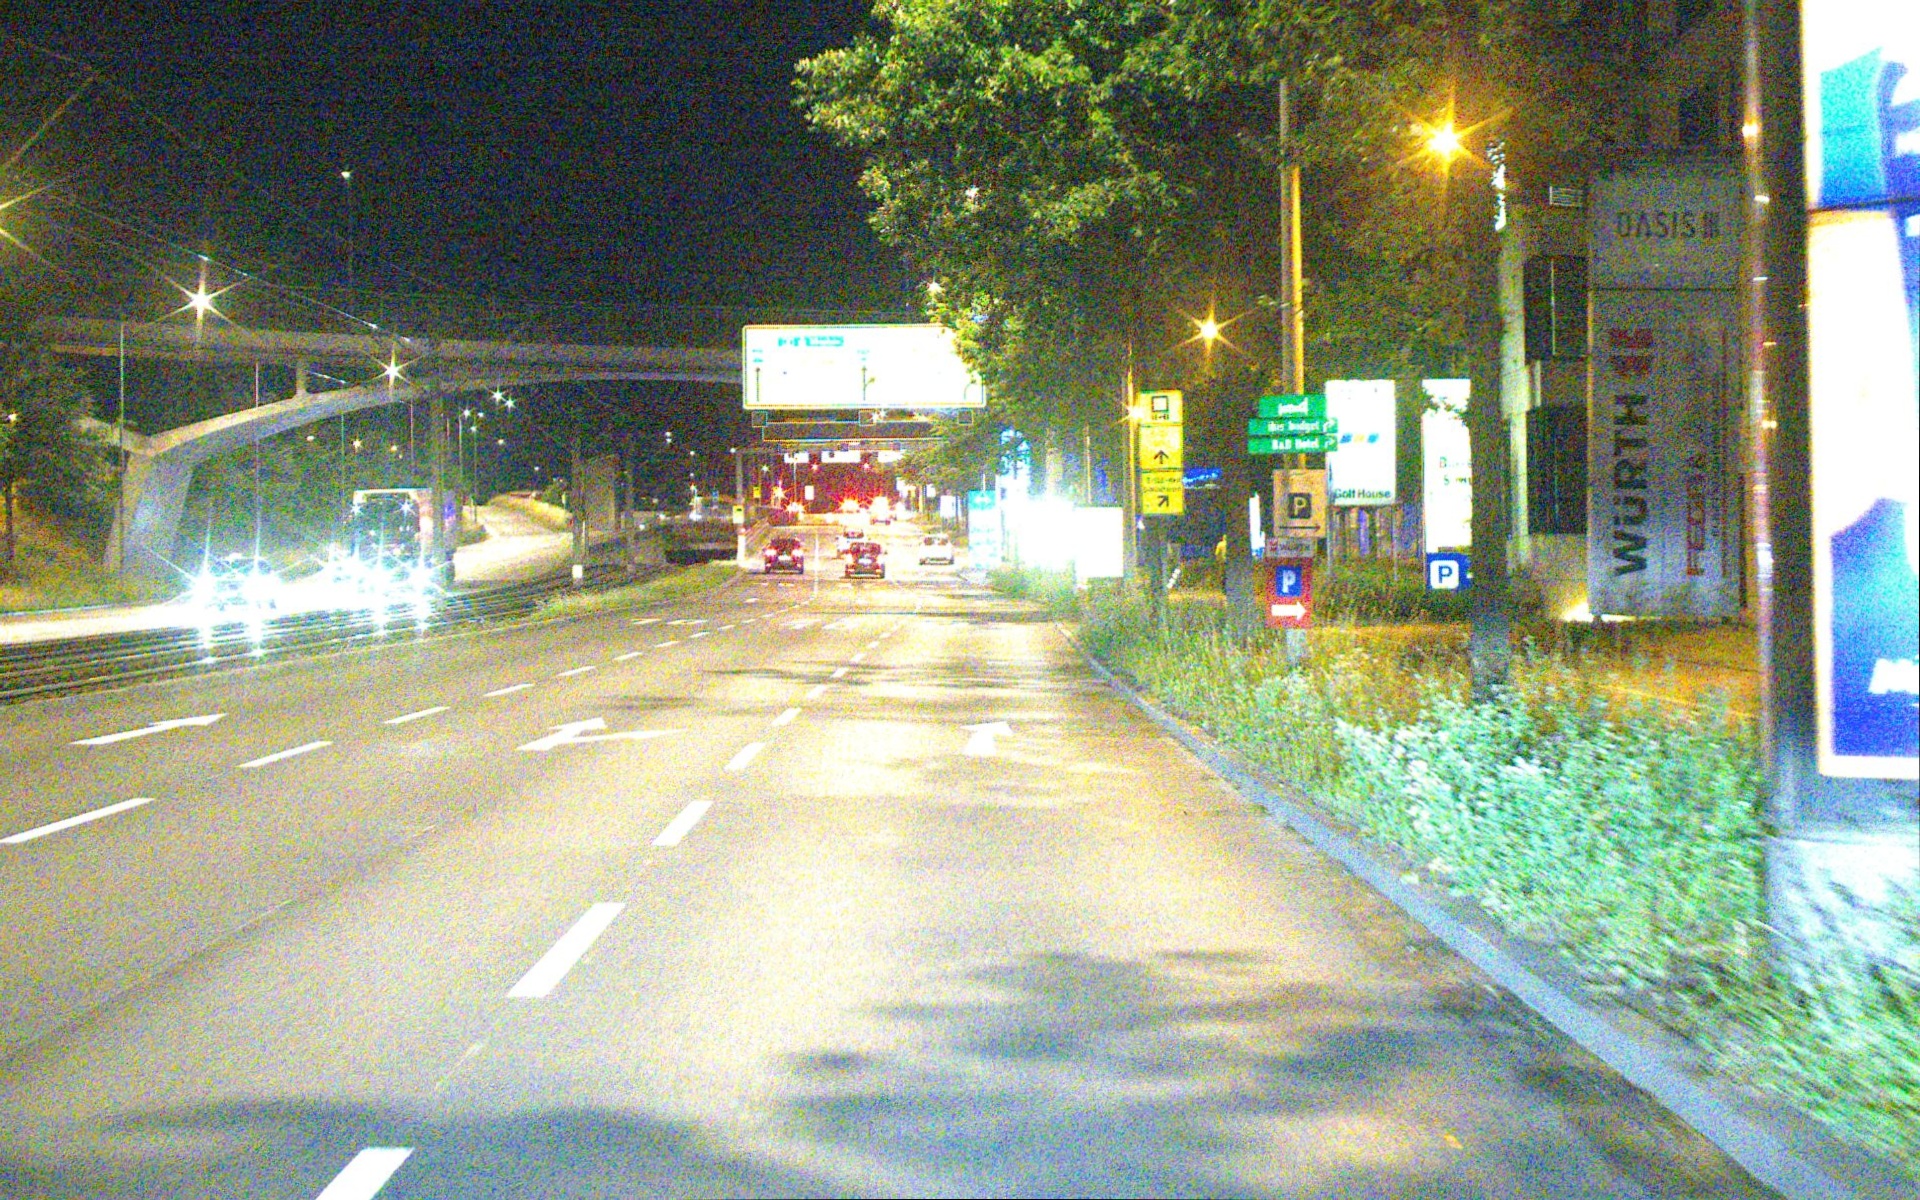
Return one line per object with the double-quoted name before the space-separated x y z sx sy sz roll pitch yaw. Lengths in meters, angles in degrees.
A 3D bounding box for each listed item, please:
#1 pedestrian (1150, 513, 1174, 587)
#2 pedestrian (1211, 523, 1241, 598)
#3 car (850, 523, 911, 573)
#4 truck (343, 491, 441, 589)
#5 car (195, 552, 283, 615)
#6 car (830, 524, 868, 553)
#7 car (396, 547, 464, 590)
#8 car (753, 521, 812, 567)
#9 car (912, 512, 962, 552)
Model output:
"pedestrian" 6.617 -1.639 112.522 0.745 2.426 0.779 1 1 2
"pedestrian" 7.319 -1.087 94.518 0.762 2.056 0.643 0 2 0
"car" -3.500 -2.322 152.284 2.356 2.121 4.826 0 2 3
"truck" -22.296 -2.392 135.213 3.041 3.806 4.935 0 2 0
"car" -21.200 -0.513 101.201 1.863 1.744 3.702 0 2 -1
"car" -6.156 -3.427 191.212 1.993 1.548 4.000 0 1 0
"car" -19.018 -1.133 123.554 1.911 1.468 3.772 0 2 -1
"car" -8.115 -2.583 157.702 2.263 2.006 4.826 0 2 3
"car" -1.191 -3.635 183.400 2.427 2.106 4.826 0 2 3
